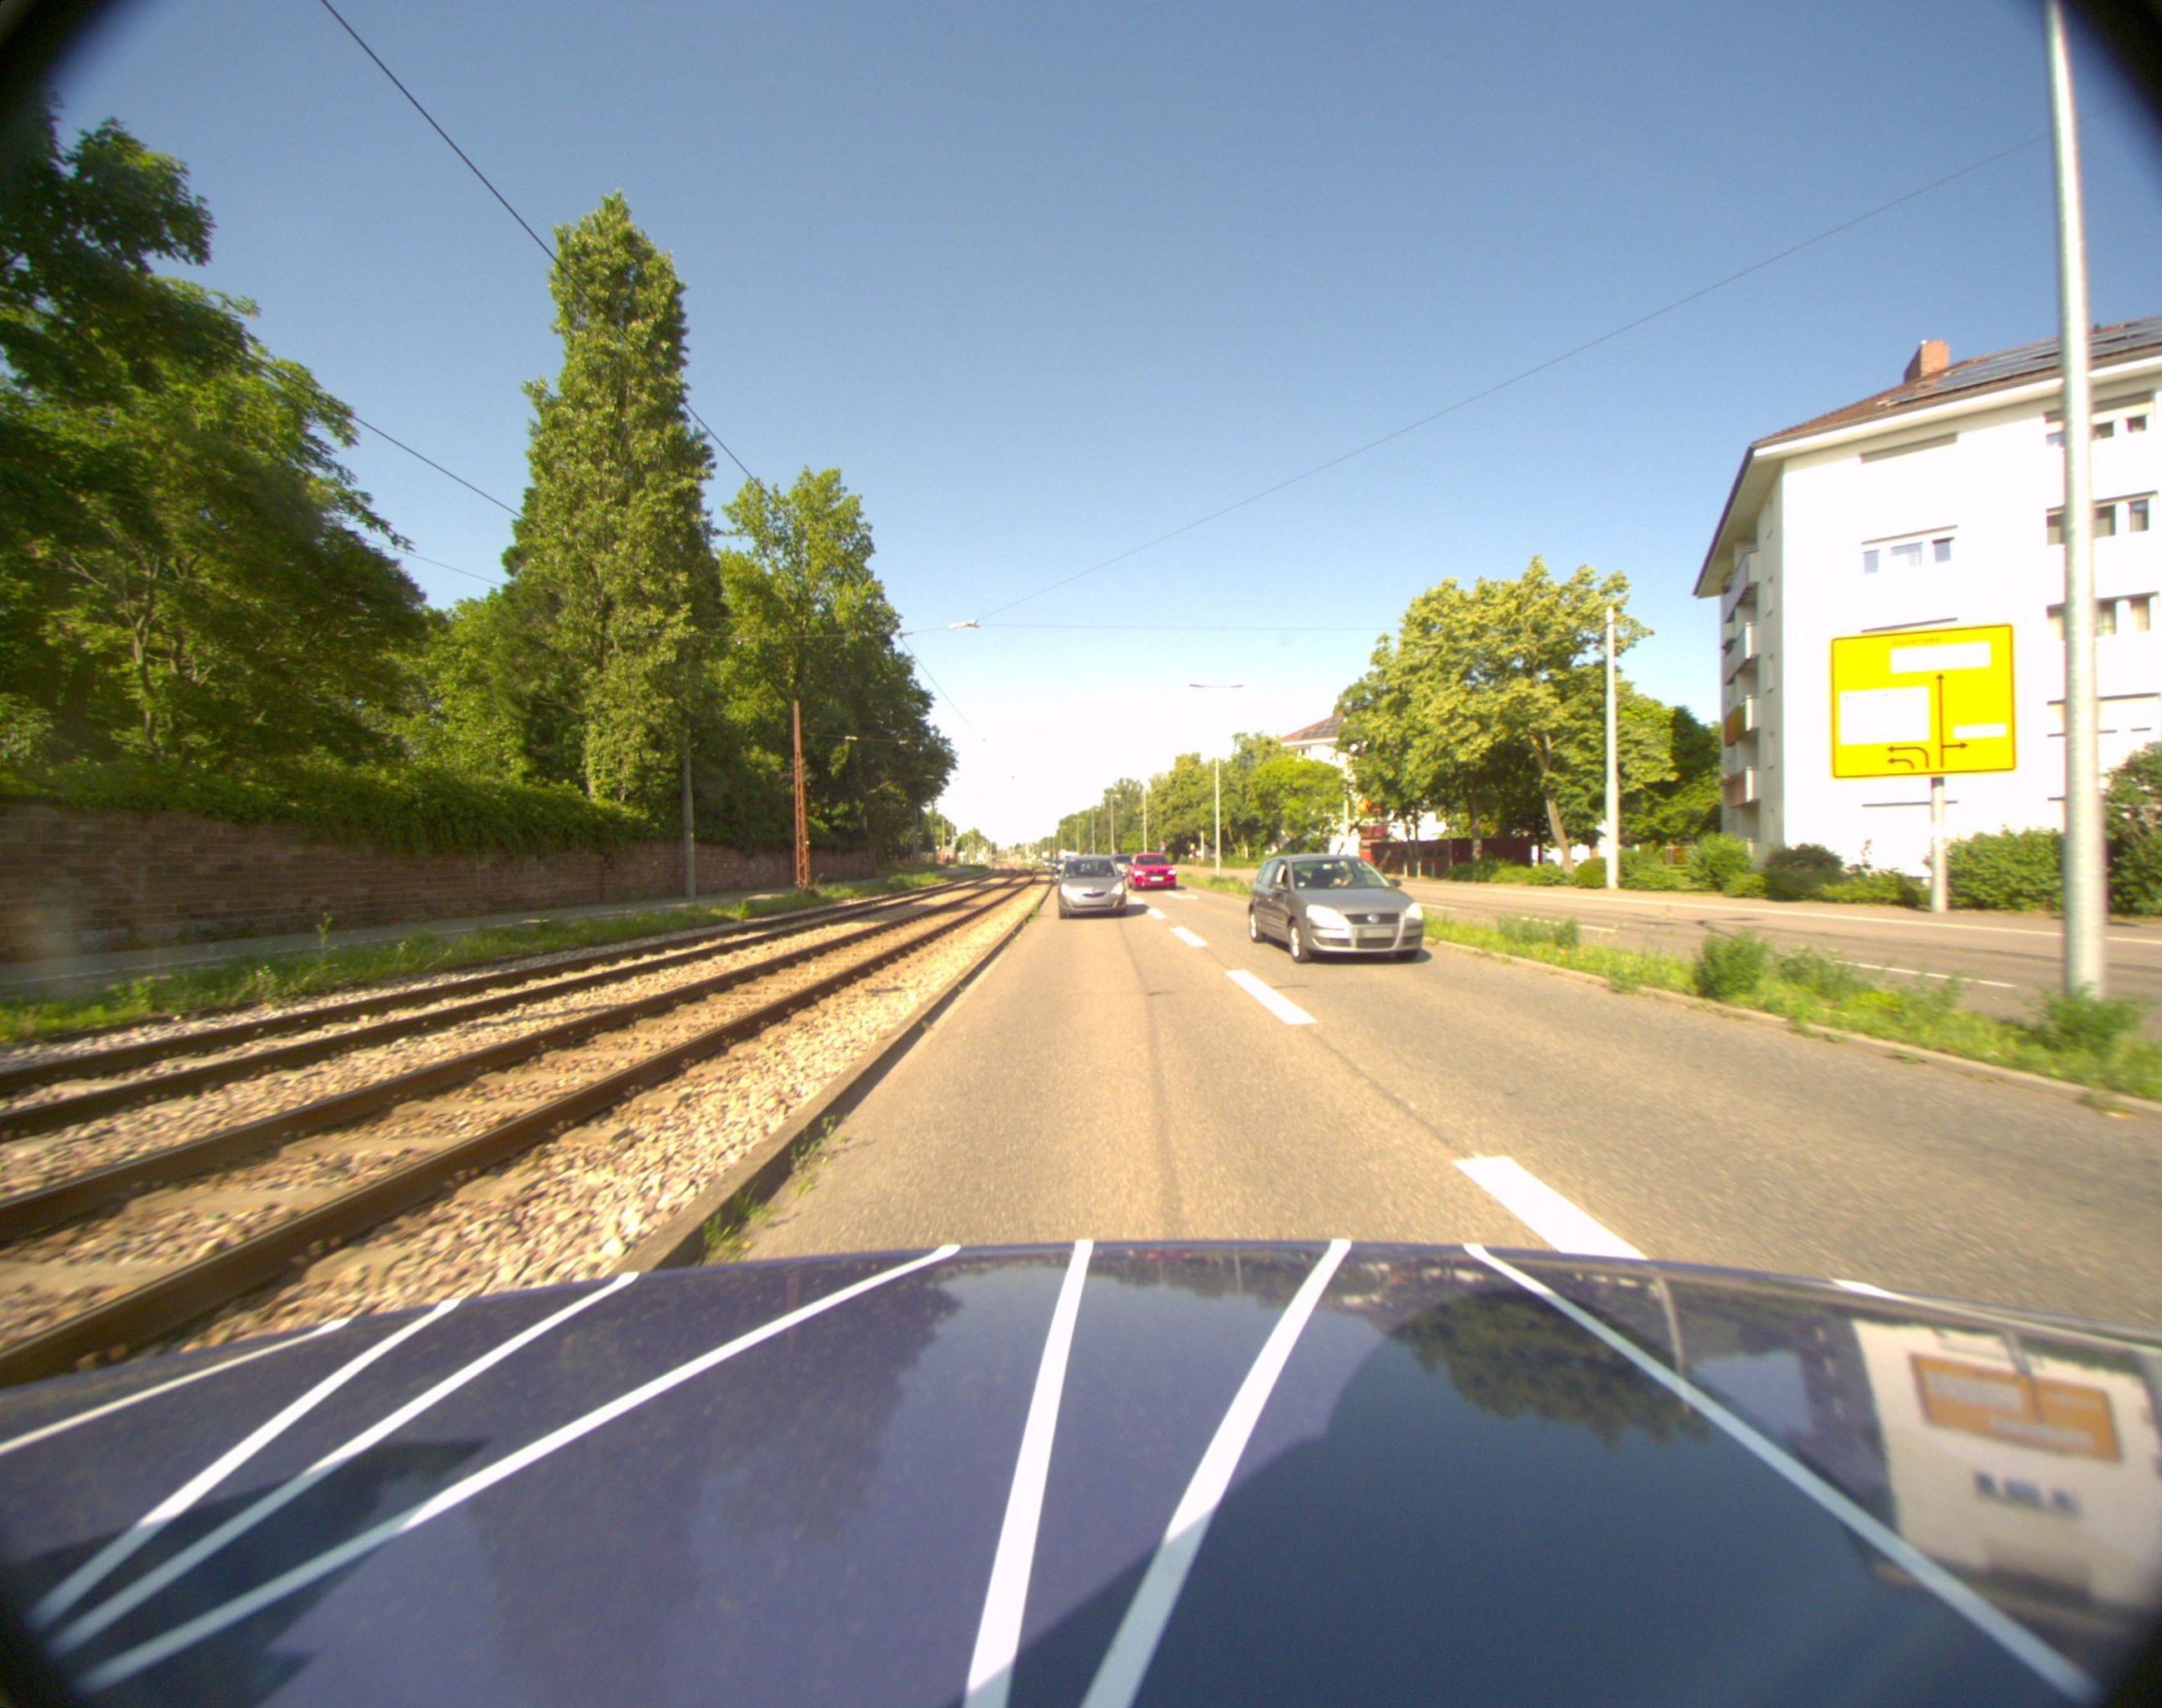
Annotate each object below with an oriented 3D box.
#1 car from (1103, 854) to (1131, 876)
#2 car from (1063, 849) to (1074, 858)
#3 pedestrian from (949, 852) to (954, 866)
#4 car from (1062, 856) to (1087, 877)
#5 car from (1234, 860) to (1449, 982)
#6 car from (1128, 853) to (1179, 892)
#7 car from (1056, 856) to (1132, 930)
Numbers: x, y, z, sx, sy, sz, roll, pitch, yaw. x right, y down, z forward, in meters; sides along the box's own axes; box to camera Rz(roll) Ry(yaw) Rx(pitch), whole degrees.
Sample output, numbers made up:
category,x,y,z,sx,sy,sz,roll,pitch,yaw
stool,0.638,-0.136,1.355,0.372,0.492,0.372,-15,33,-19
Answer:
category,x,y,z,sx,sy,sz,roll,pitch,yaw
car,2.587,0.790,55.285,1.710,1.513,3.832,-2,0,-2
car,-2.276,-0.017,135.702,1.710,1.513,3.831,-2,0,-5
pedestrian,-15.901,0.576,93.287,0.501,1.706,0.885,0,0,2
car,-0.511,0.912,58.182,1.710,1.513,3.832,-2,0,-3
car,3.612,0.838,11.305,1.693,1.420,3.832,-2,0,-3
car,3.126,0.774,33.444,1.693,1.573,3.832,-2,0,-2
car,0.297,0.874,18.938,1.650,1.581,3.833,-2,0,0
